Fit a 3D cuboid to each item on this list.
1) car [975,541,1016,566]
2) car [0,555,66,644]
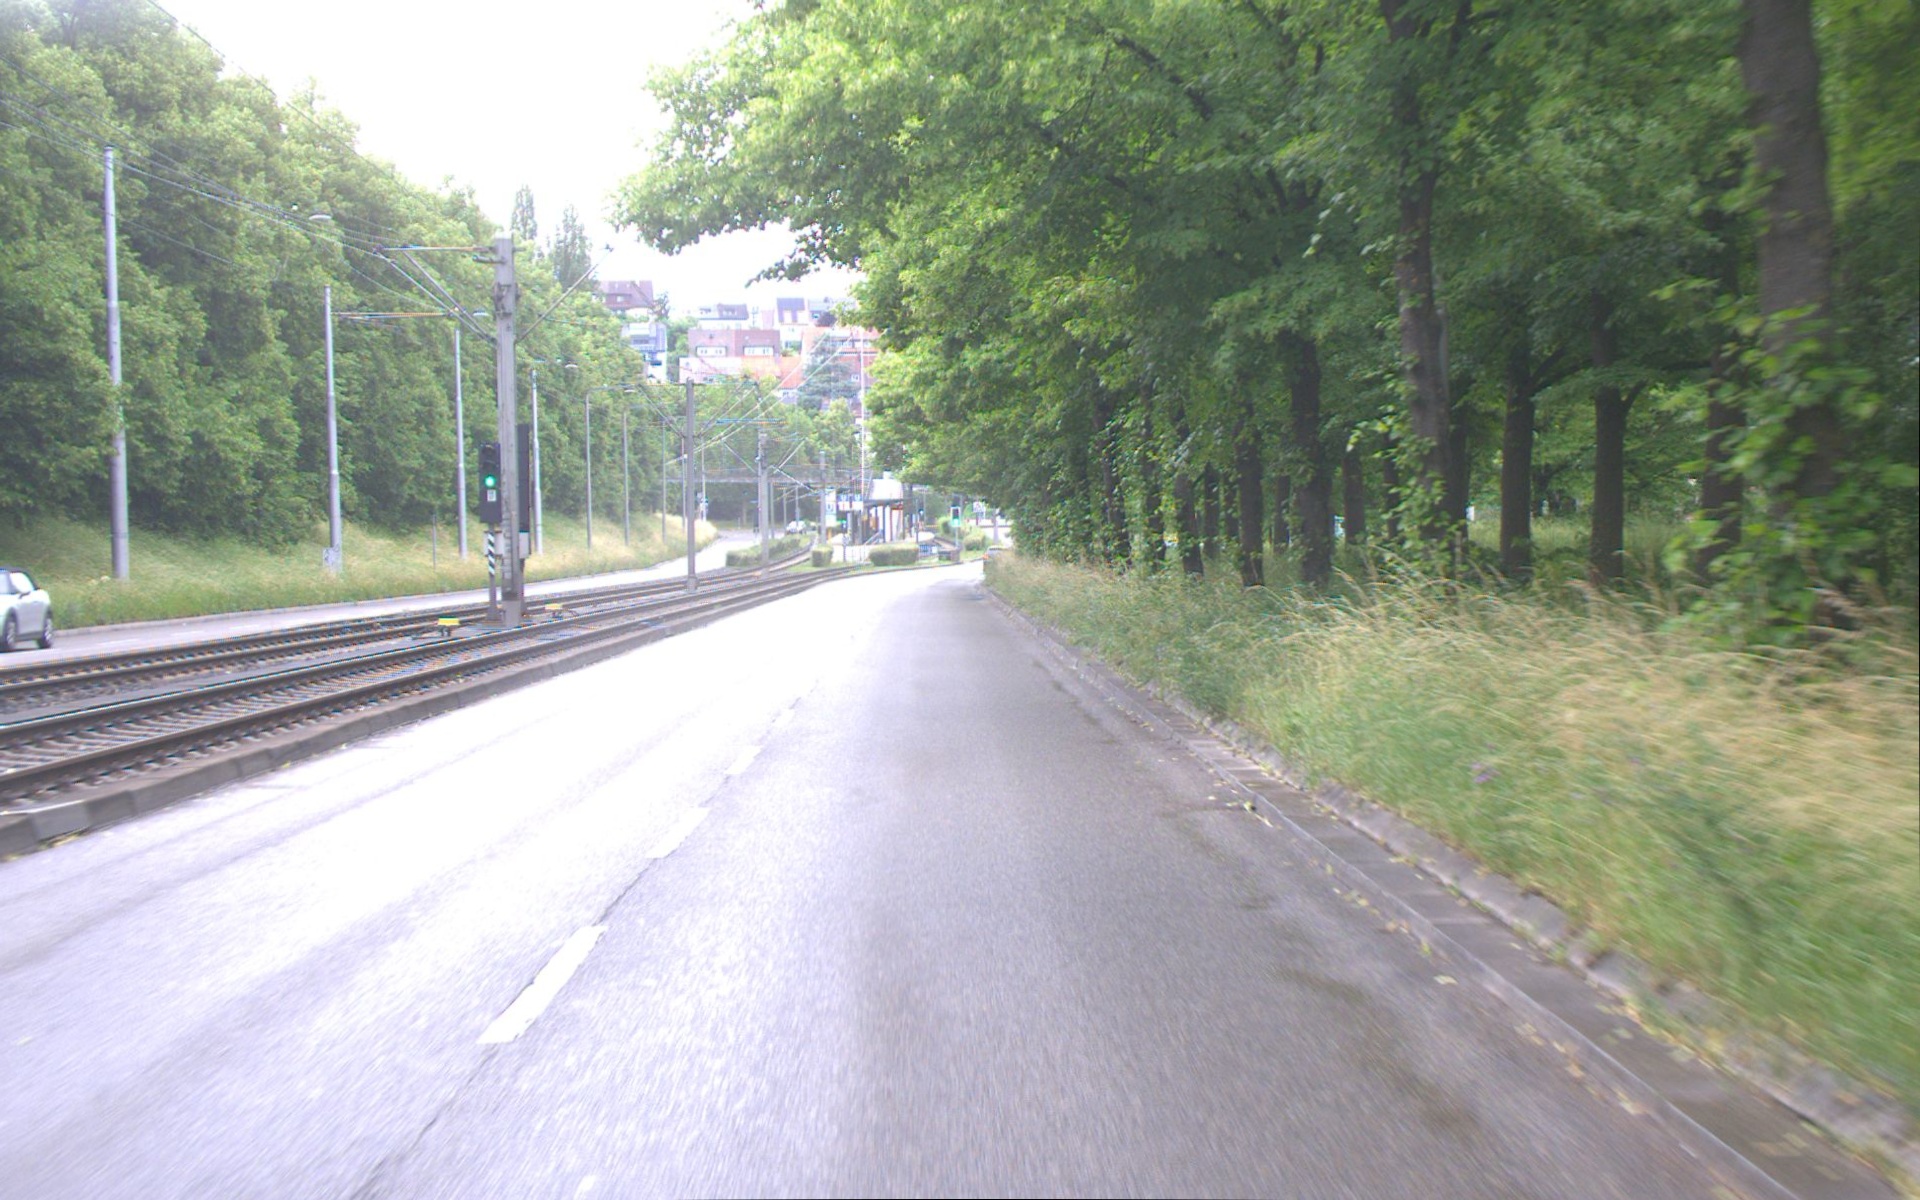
[{"bbox_3d":[1.984,-2.621,192.641,2.194,1.325,4.001,0,2,-1],"label":"car"},{"bbox_3d":[-16.349,-0.010,57.970,1.476,1.431,3.909,-2,1,0],"label":"car"}]
